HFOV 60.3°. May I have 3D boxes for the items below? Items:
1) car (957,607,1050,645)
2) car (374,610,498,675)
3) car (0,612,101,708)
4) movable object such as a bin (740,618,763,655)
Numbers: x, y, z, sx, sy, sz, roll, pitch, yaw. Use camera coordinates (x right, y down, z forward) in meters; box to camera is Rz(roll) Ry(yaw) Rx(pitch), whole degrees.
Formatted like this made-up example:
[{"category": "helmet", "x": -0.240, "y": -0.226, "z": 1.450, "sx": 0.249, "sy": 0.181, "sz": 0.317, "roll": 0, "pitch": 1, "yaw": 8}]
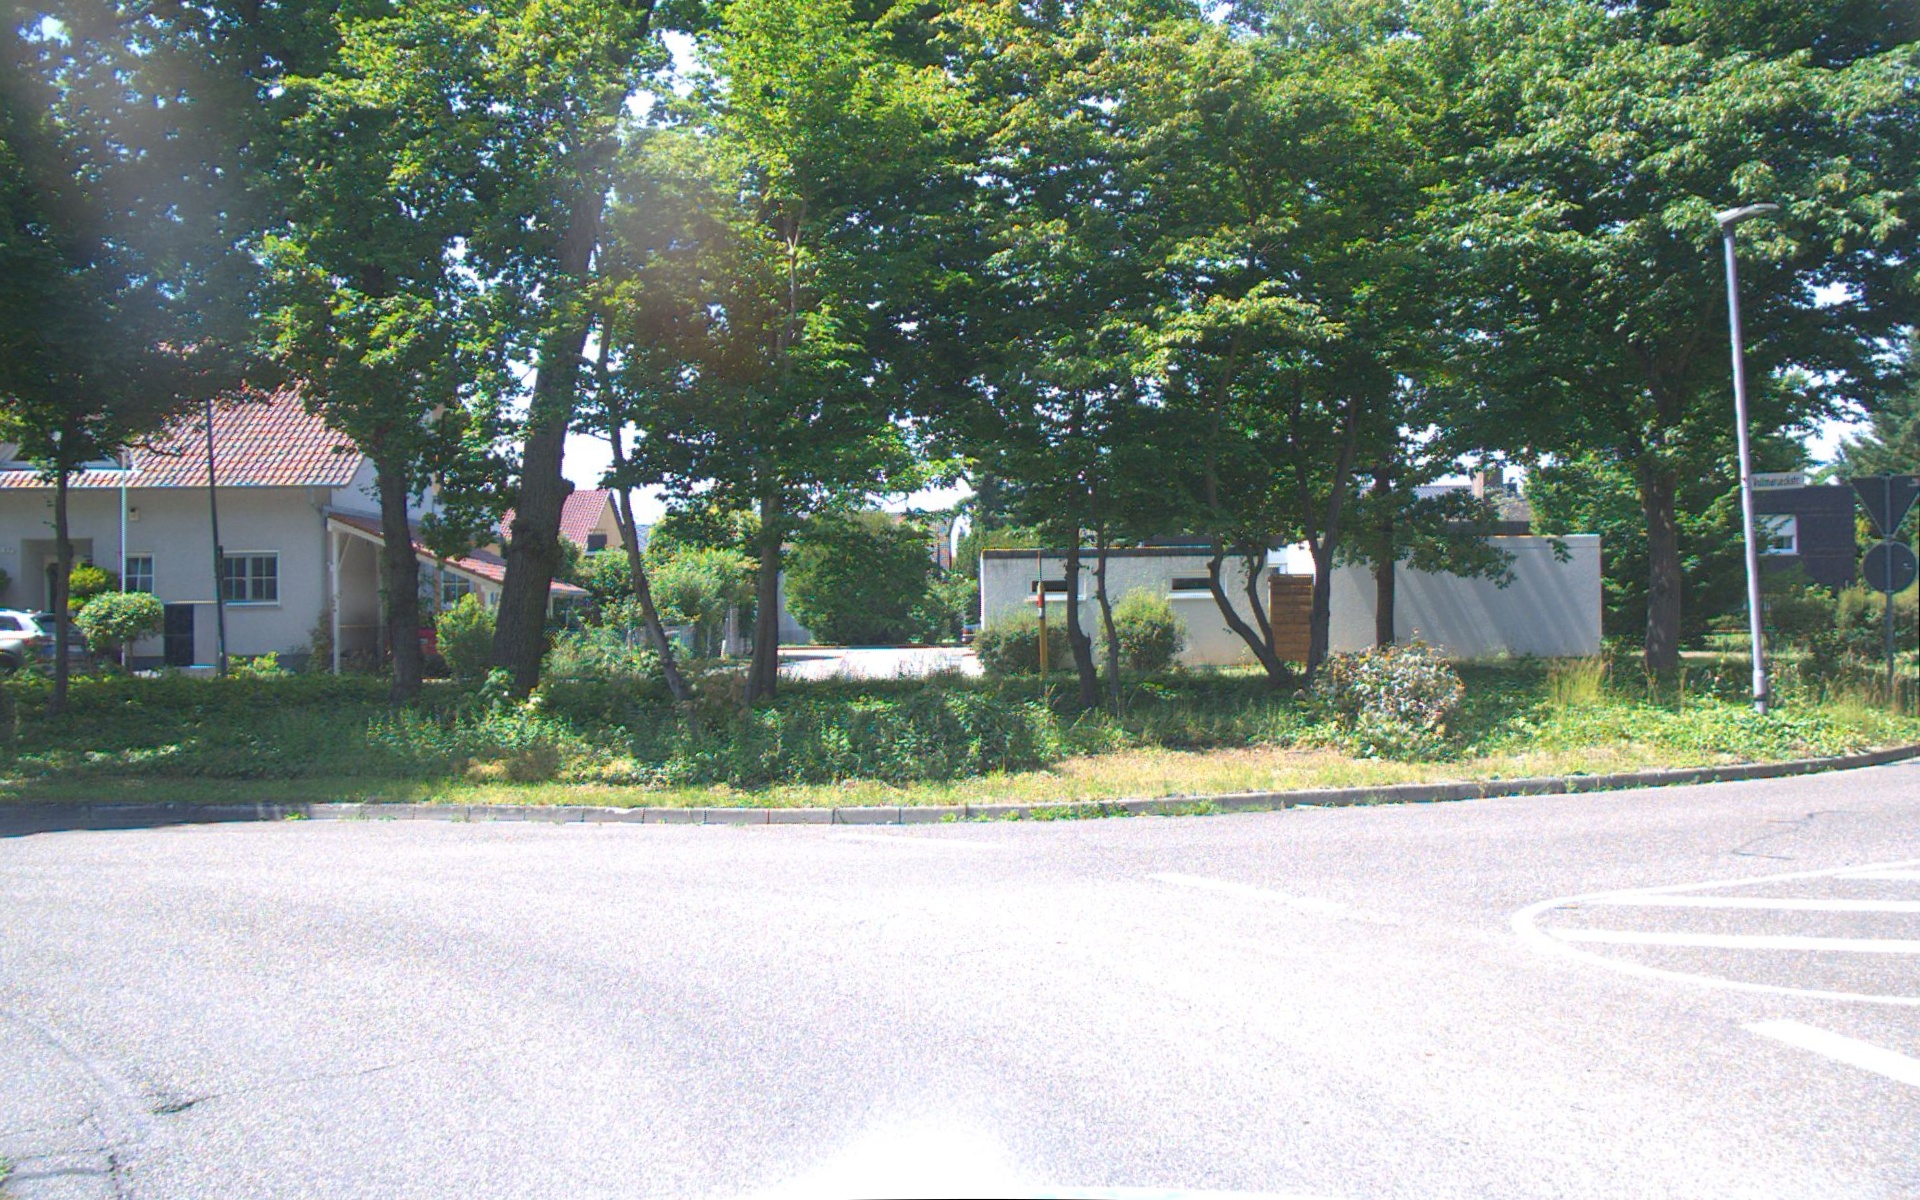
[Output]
[{"category": "car", "x": 1.531, "y": 0.912, "z": 59.034, "sx": 3.203, "sy": 1.275, "sz": 1.572, "roll": -1, "pitch": 0, "yaw": -3}, {"category": "car", "x": -12.180, "y": 0.954, "z": 38.666, "sx": 1.644, "sy": 1.409, "sz": 3.694, "roll": -1, "pitch": 0, "yaw": 1}, {"category": "car", "x": -18.589, "y": 1.126, "z": 31.005, "sx": 4.047, "sy": 1.735, "sz": 1.665, "roll": -1, "pitch": -1, "yaw": -3}, {"category": "movable object such as a bin", "x": -6.493, "y": 1.140, "z": 51.556, "sx": 0.644, "sy": 1.132, "sz": 0.457, "roll": -1, "pitch": 0, "yaw": -3}]
